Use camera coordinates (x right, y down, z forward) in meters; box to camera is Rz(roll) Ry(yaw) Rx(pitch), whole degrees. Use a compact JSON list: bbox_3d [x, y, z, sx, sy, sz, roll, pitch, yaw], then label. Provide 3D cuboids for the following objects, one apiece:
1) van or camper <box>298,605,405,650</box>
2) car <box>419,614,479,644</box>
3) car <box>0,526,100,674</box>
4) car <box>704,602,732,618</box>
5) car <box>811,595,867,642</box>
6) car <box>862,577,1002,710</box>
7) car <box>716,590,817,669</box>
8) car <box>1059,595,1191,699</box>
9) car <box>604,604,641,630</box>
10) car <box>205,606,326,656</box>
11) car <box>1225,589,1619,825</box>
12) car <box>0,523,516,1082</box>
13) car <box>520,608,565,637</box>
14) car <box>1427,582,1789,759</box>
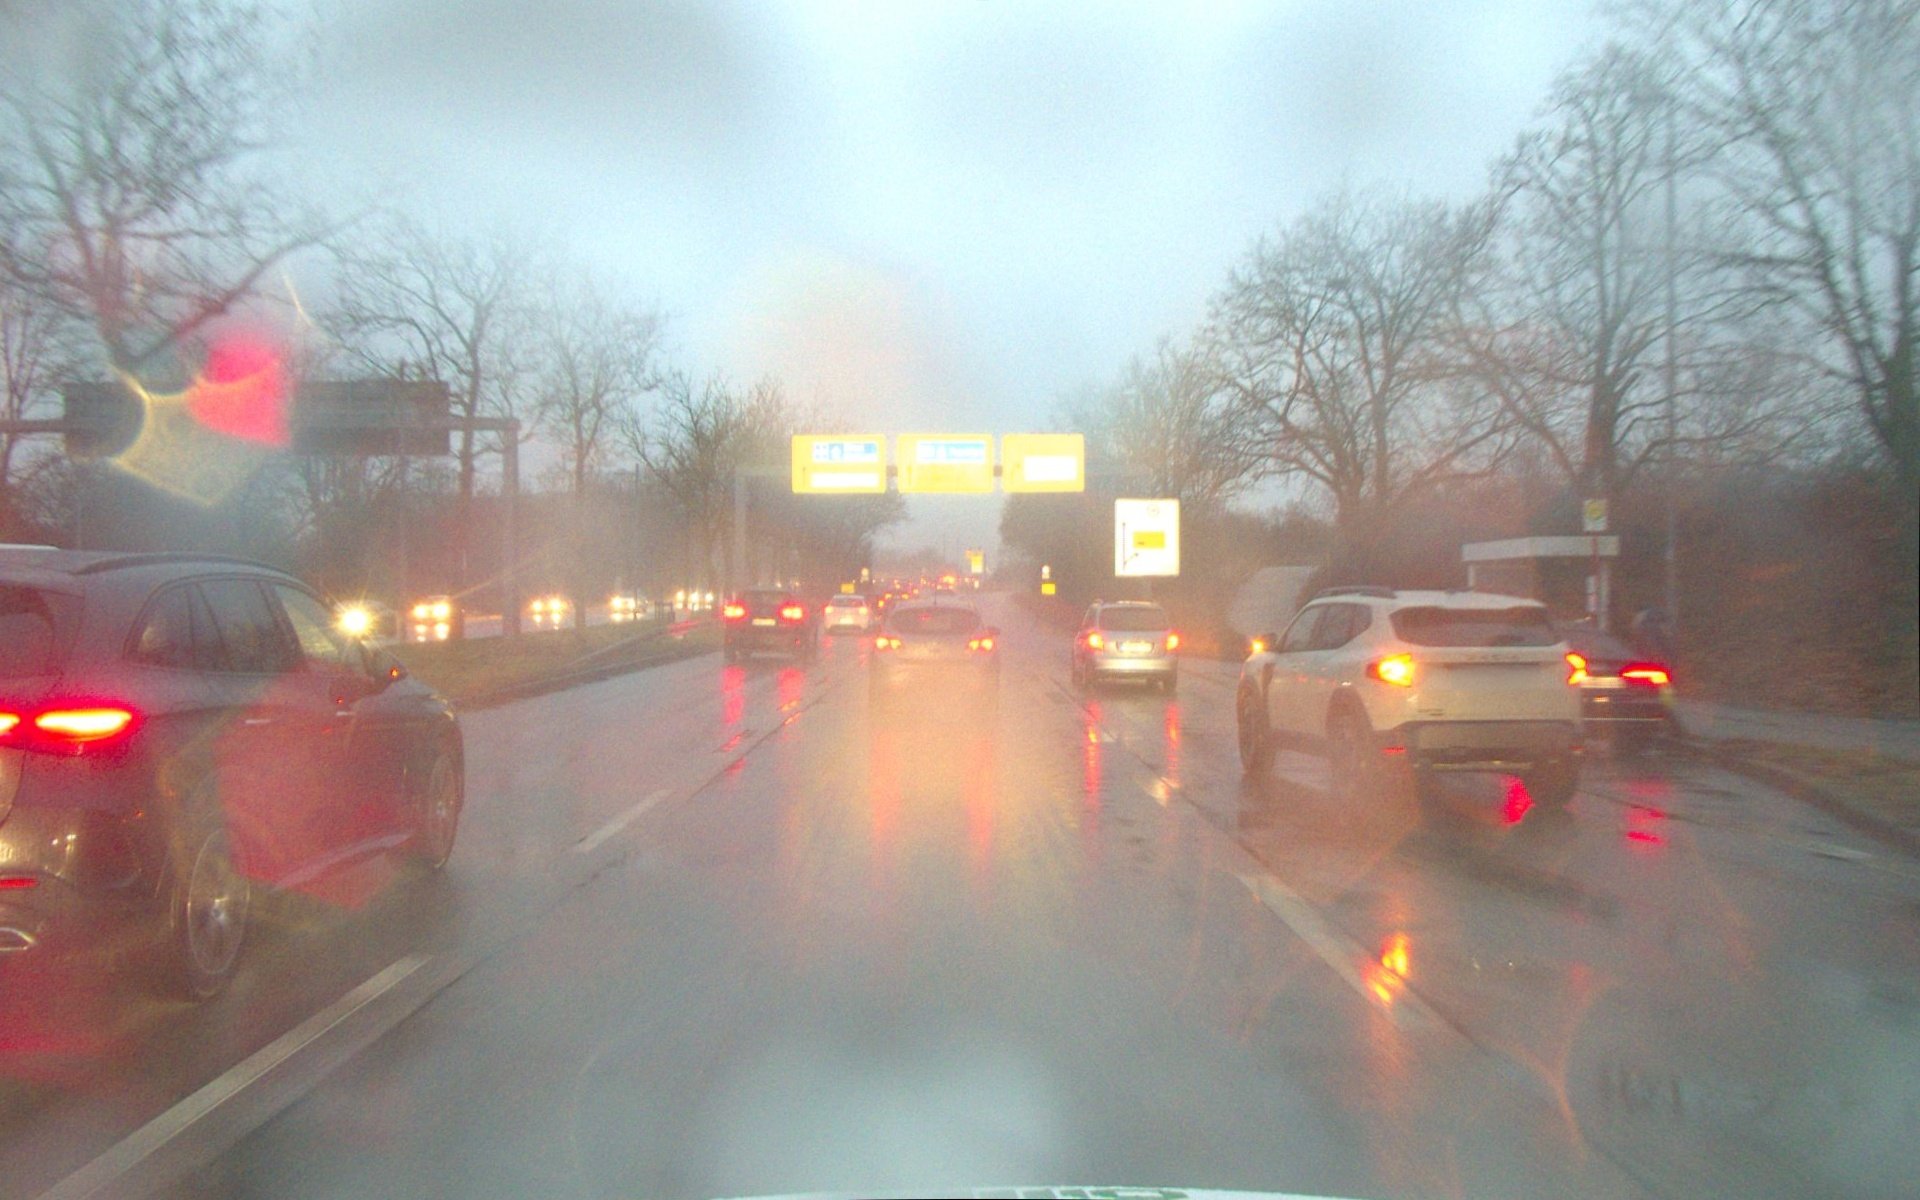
[{"bbox_3d":[-21.217,0.931,57.916,1.865,1.472,5.157,0,0,-1],"label":"van or camper"},{"bbox_3d":[-27.730,1.558,89.896,1.952,1.503,4.072,1,0,1],"label":"car"},{"bbox_3d":[-20.964,-0.009,34.334,2.244,3.057,7.347,1,-1,1],"label":"car"},{"bbox_3d":[-20.083,0.807,137.260,1.716,1.331,4.315,0,0,-1],"label":"car"},{"bbox_3d":[-4.513,0.677,61.922,1.785,1.677,4.000,0,0,0],"label":"car"},{"bbox_3d":[-0.358,0.556,23.395,1.785,1.677,4.466,0,0,0],"label":"car"},{"bbox_3d":[-4.297,0.641,37.291,1.785,1.677,4.000,0,0,0],"label":"car"},{"bbox_3d":[2.865,0.804,29.527,1.894,1.677,4.466,1,-1,0],"label":"car"},{"bbox_3d":[-22.112,1.084,108.524,1.749,1.655,3.573,1,0,-2],"label":"car"},{"bbox_3d":[-21.255,0.921,50.806,1.865,1.472,4.441,0,0,-1],"label":"car"},{"bbox_3d":[3.618,0.756,13.860,1.780,1.646,4.406,0,0,-4],"label":"car"},{"bbox_3d":[-3.436,0.619,7.203,1.785,1.677,4.466,0,0,0],"label":"car"},{"bbox_3d":[-28.980,1.545,114.989,1.952,1.883,4.427,1,0,1],"label":"car"},{"bbox_3d":[6.856,0.677,18.107,1.928,1.648,4.544,-1,0,-4],"label":"car"}]
